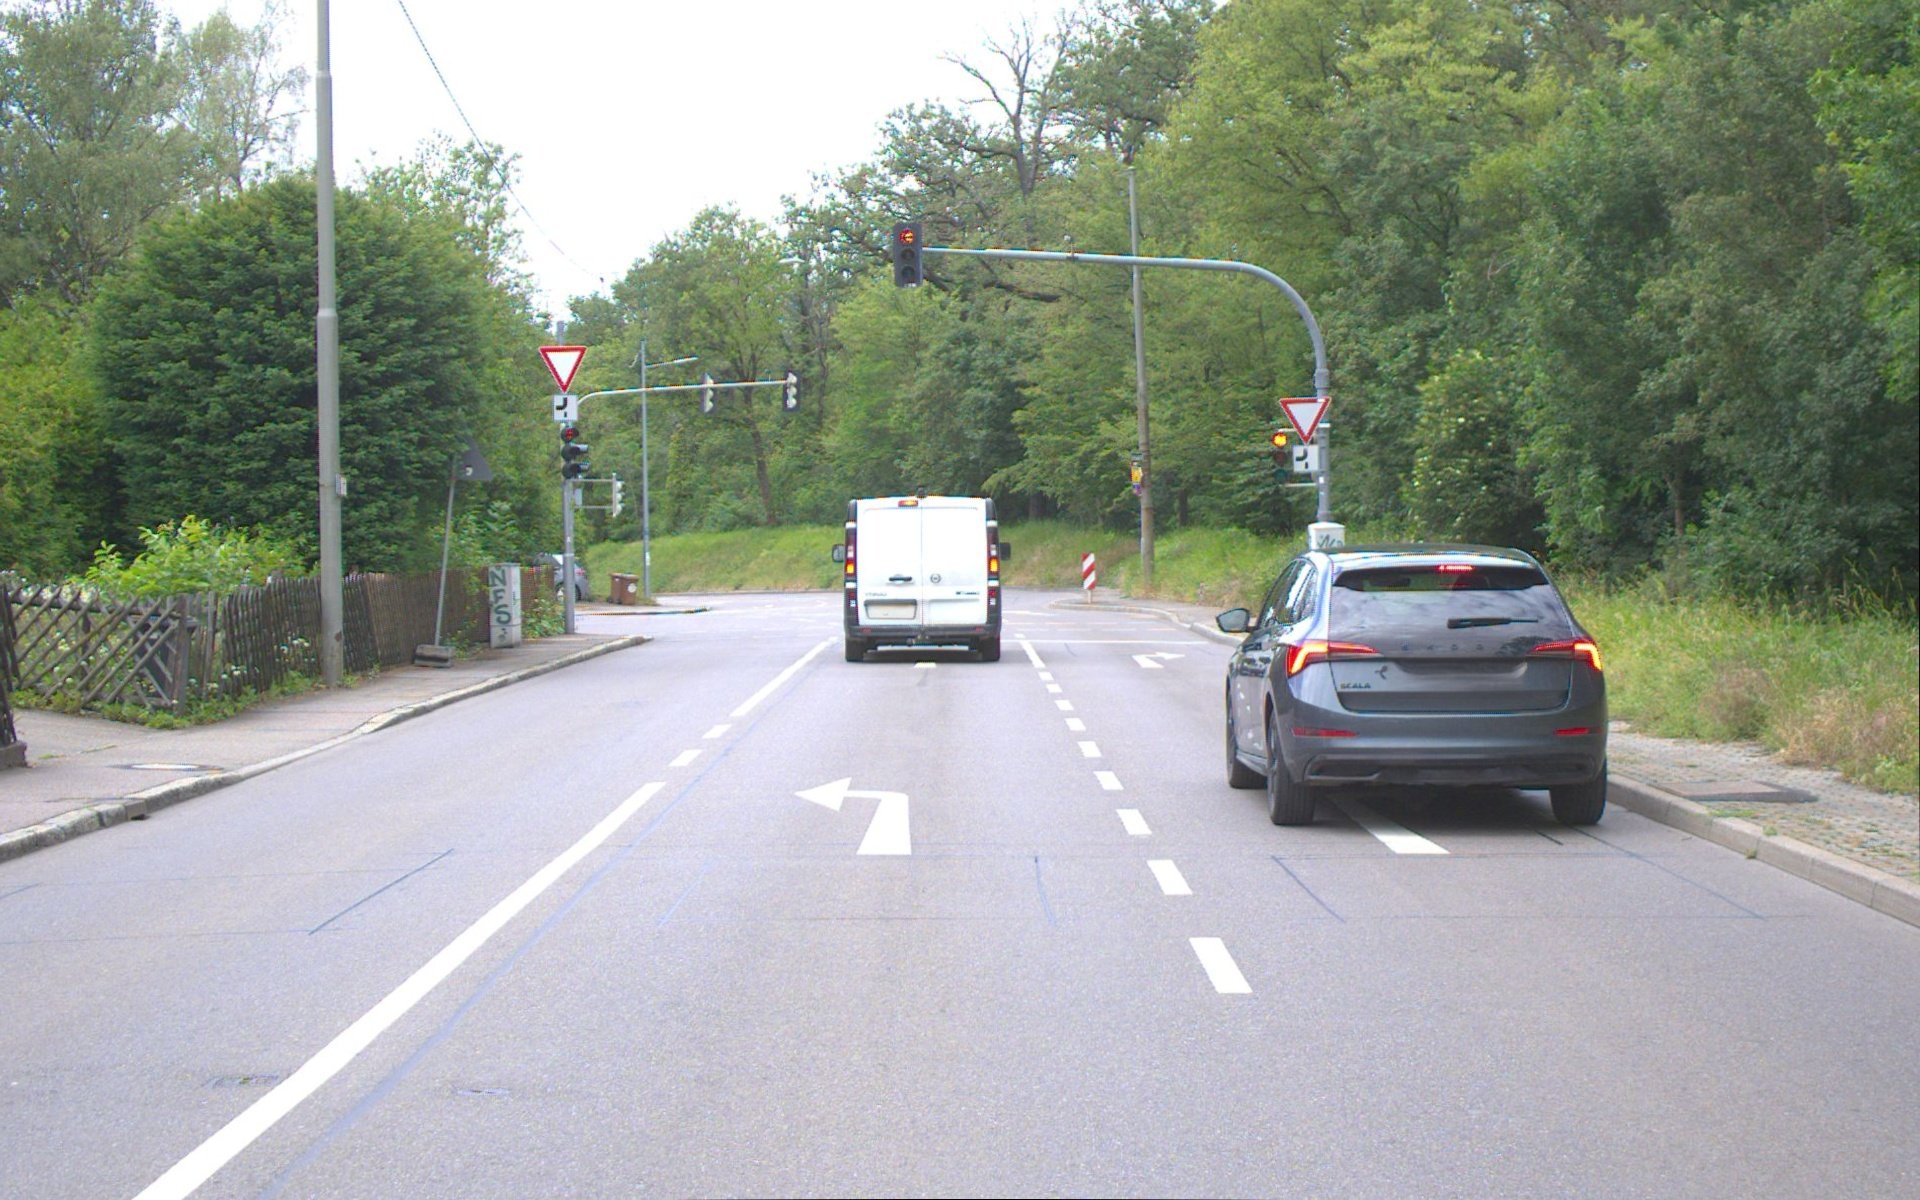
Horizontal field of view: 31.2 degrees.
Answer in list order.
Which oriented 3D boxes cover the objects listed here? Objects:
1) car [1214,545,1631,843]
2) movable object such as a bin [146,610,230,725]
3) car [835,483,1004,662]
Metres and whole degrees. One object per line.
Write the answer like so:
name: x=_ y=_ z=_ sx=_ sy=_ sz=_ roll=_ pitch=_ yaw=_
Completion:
car: x=2.438 y=0.435 z=19.033 sx=1.792 sy=1.445 sz=4.000 roll=-1 pitch=1 yaw=1
movable object such as a bin: x=-6.406 y=0.556 z=28.556 sx=0.550 sy=0.935 sz=0.537 roll=-1 pitch=1 yaw=2
car: x=-0.553 y=-0.359 z=42.115 sx=1.916 sy=2.046 sz=4.615 roll=-1 pitch=1 yaw=-2
